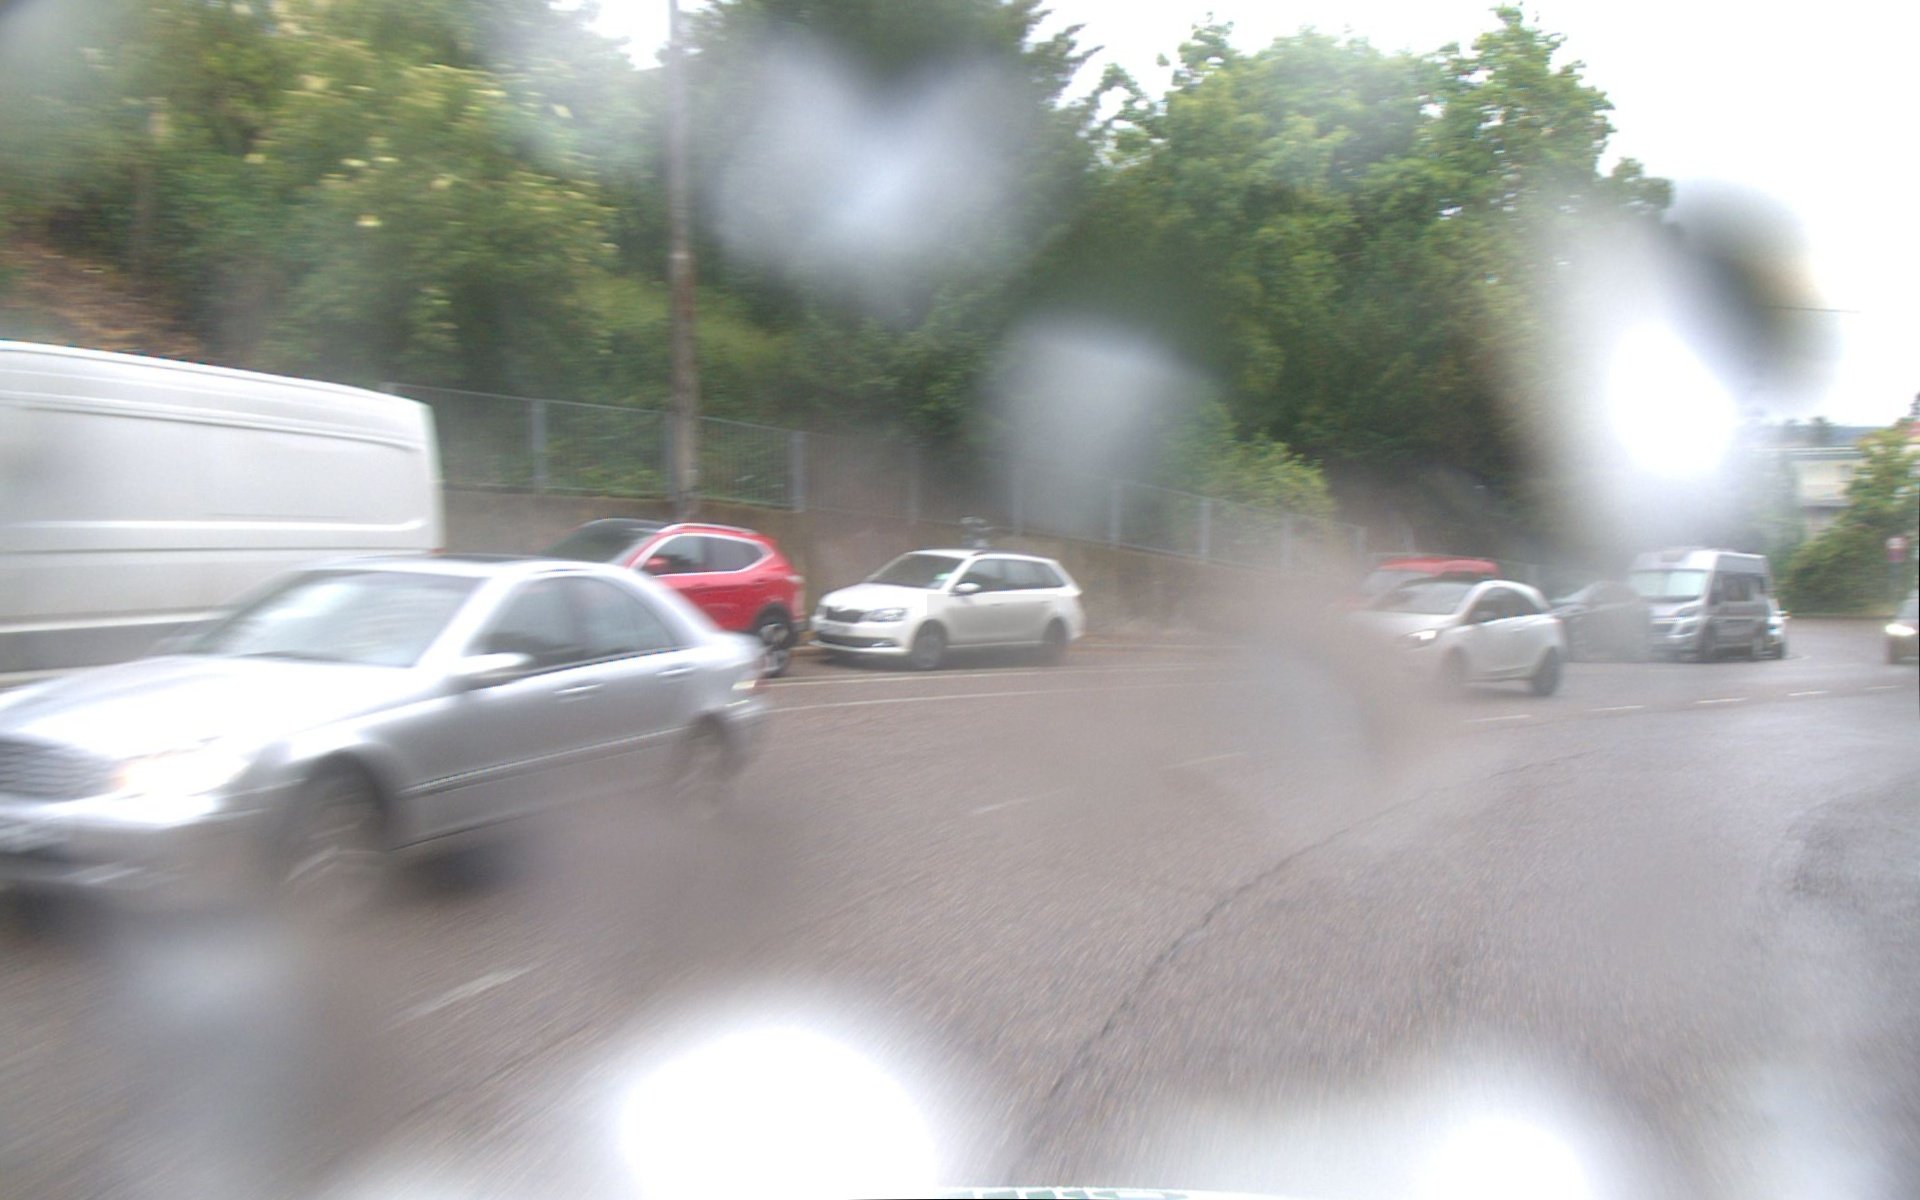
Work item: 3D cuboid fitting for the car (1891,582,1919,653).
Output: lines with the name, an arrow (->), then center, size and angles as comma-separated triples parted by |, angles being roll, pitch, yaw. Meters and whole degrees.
car -> 22.771, 0.364, 38.247 | 1.835, 1.543, 4.470 | 0, 0, 34

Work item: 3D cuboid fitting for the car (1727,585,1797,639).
car -> 23.579, 0.322, 48.708 | 1.717, 1.482, 4.044 | -2, -1, 25

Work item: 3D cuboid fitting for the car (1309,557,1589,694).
car -> 6.276, 0.258, 21.018 | 4.000, 1.521, 1.582 | -1, 3, -43

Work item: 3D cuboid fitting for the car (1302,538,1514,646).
car -> 8.056, -0.113, 29.565 | 4.102, 1.799, 1.729 | 1, 0, -43

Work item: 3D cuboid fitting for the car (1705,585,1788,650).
car -> 20.799, 0.464, 43.685 | 1.769, 1.610, 4.019 | -2, -2, 28

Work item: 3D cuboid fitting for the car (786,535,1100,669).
car -> -0.129, -0.022, 21.649 | 1.713, 1.504, 4.173 | 5, 4, 42

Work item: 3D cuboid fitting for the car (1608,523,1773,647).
car -> 16.797, -0.346, 37.819 | 2.040, 2.594, 6.320 | 0, 0, 37

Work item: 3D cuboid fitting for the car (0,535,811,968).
car -> -2.490, 0.455, 7.791 | 1.748, 1.409, 4.338 | 2, 1, 22

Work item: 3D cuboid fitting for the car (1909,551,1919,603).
car -> 38.374, -0.884, 62.853 | 1.839, 2.049, 4.690 | -1, 0, -2

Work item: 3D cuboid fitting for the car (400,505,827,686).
car -> -3.452, -0.096, 17.292 | 1.744, 1.613, 4.420 | 3, 2, 33

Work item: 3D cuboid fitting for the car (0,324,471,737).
car -> -6.503, -0.499, 11.706 | 1.993, 2.574, 6.823 | 3, 2, 22

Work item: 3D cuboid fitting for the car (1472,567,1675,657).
car -> 12.366, 0.181, 33.219 | 4.357, 1.647, 1.971 | -1, 2, -41
